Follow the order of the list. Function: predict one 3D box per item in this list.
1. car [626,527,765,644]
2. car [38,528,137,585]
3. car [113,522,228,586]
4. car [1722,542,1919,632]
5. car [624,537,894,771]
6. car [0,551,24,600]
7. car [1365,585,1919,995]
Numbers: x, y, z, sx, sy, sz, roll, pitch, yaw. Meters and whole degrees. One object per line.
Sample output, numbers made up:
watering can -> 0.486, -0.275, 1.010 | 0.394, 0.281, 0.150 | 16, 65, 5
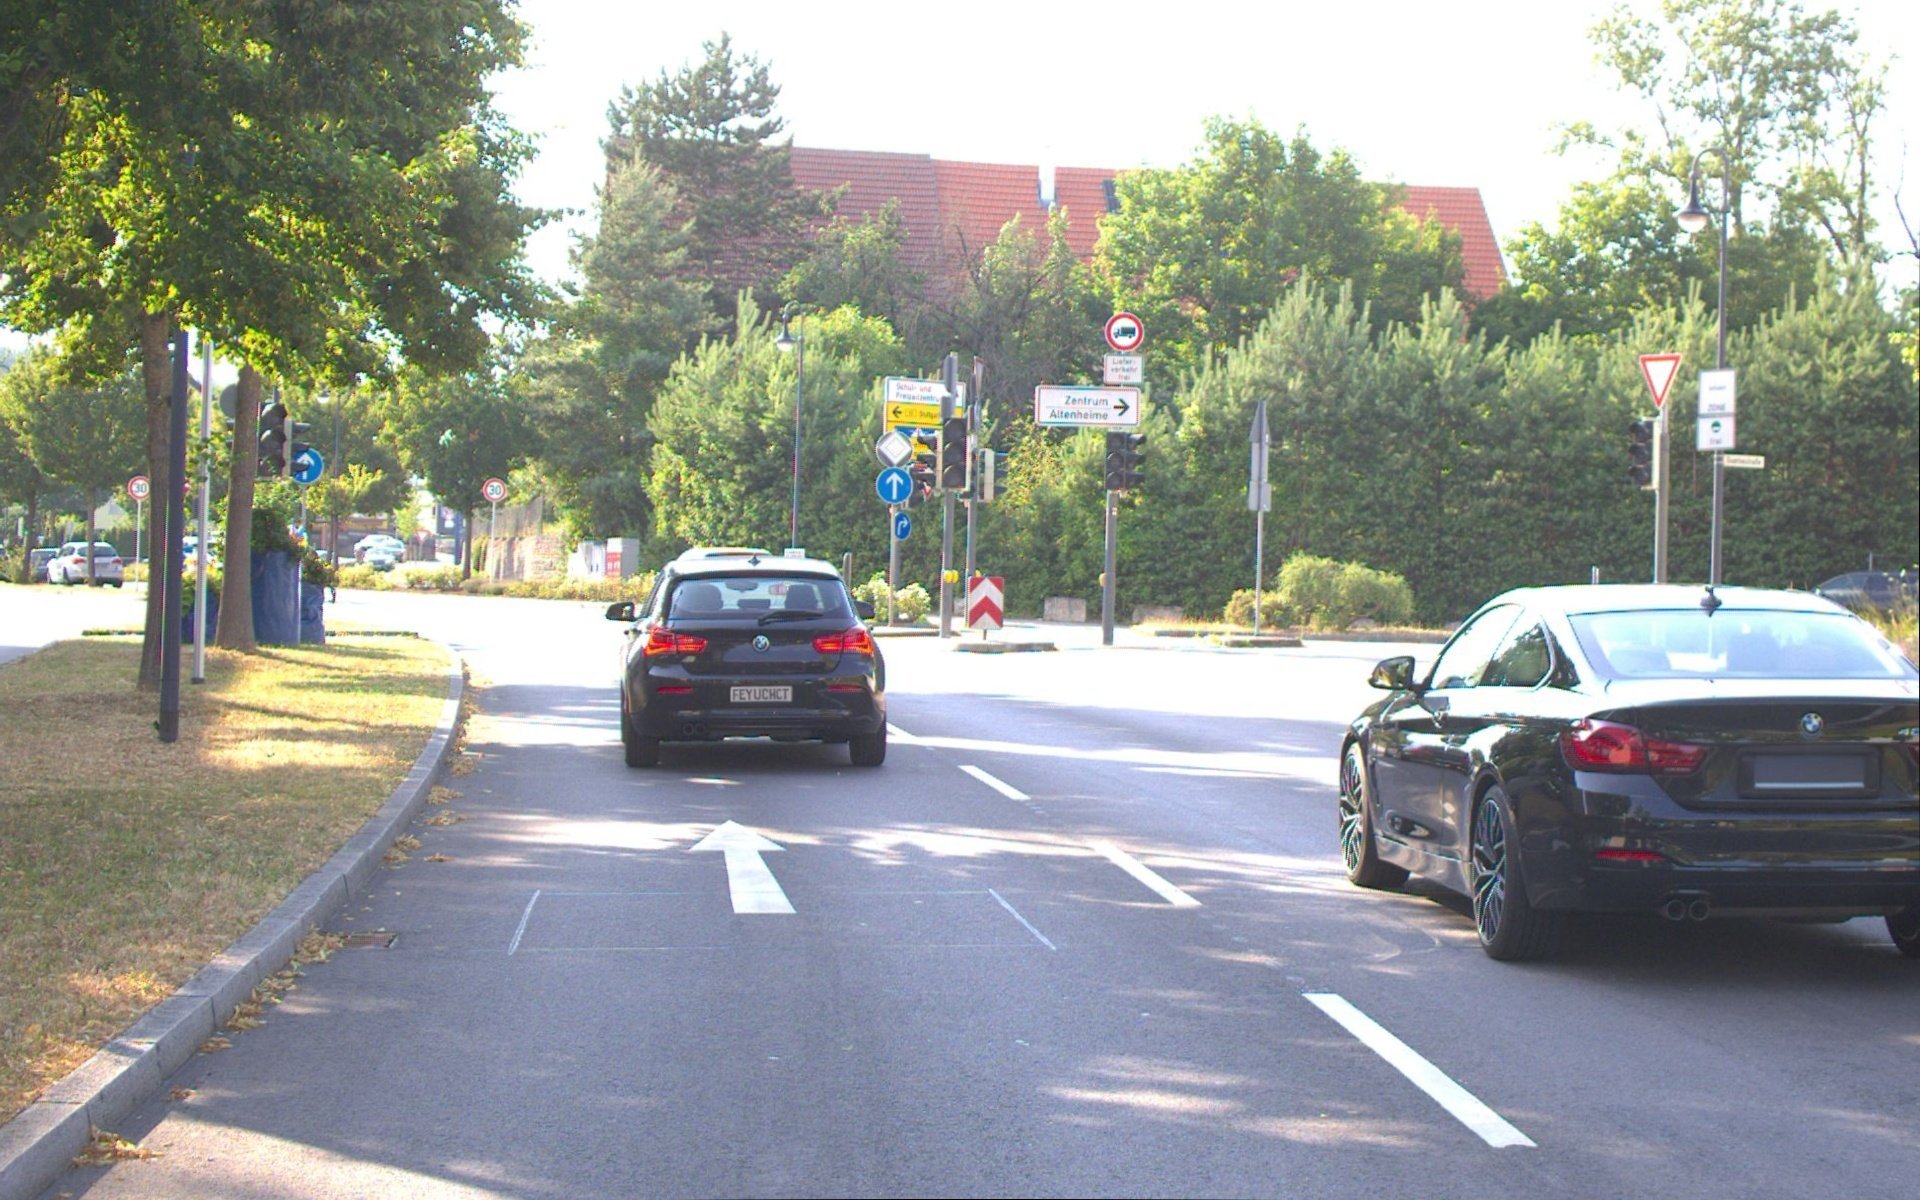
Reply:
car -> -4.244, -0.249, 54.554 | 1.925, 1.763, 4.455 | 1, 1, -8
car -> -28.103, -1.413, 110.663 | 2.216, 1.763, 4.455 | 0, 1, -26
car -> -22.342, -1.309, 97.214 | 2.216, 1.763, 4.455 | 0, 1, -26
car -> 16.277, -0.241, 62.799 | 4.263, 1.561, 1.790 | 1, 1, 26
car -> -1.412, 0.329, 24.529 | 1.721, 1.485, 4.353 | 1, 1, -3
car -> -36.282, -0.943, 127.447 | 2.216, 1.763, 4.455 | 0, 1, -26
car -> 2.848, 0.636, 13.801 | 1.920, 1.359, 4.353 | 1, 0, 0
